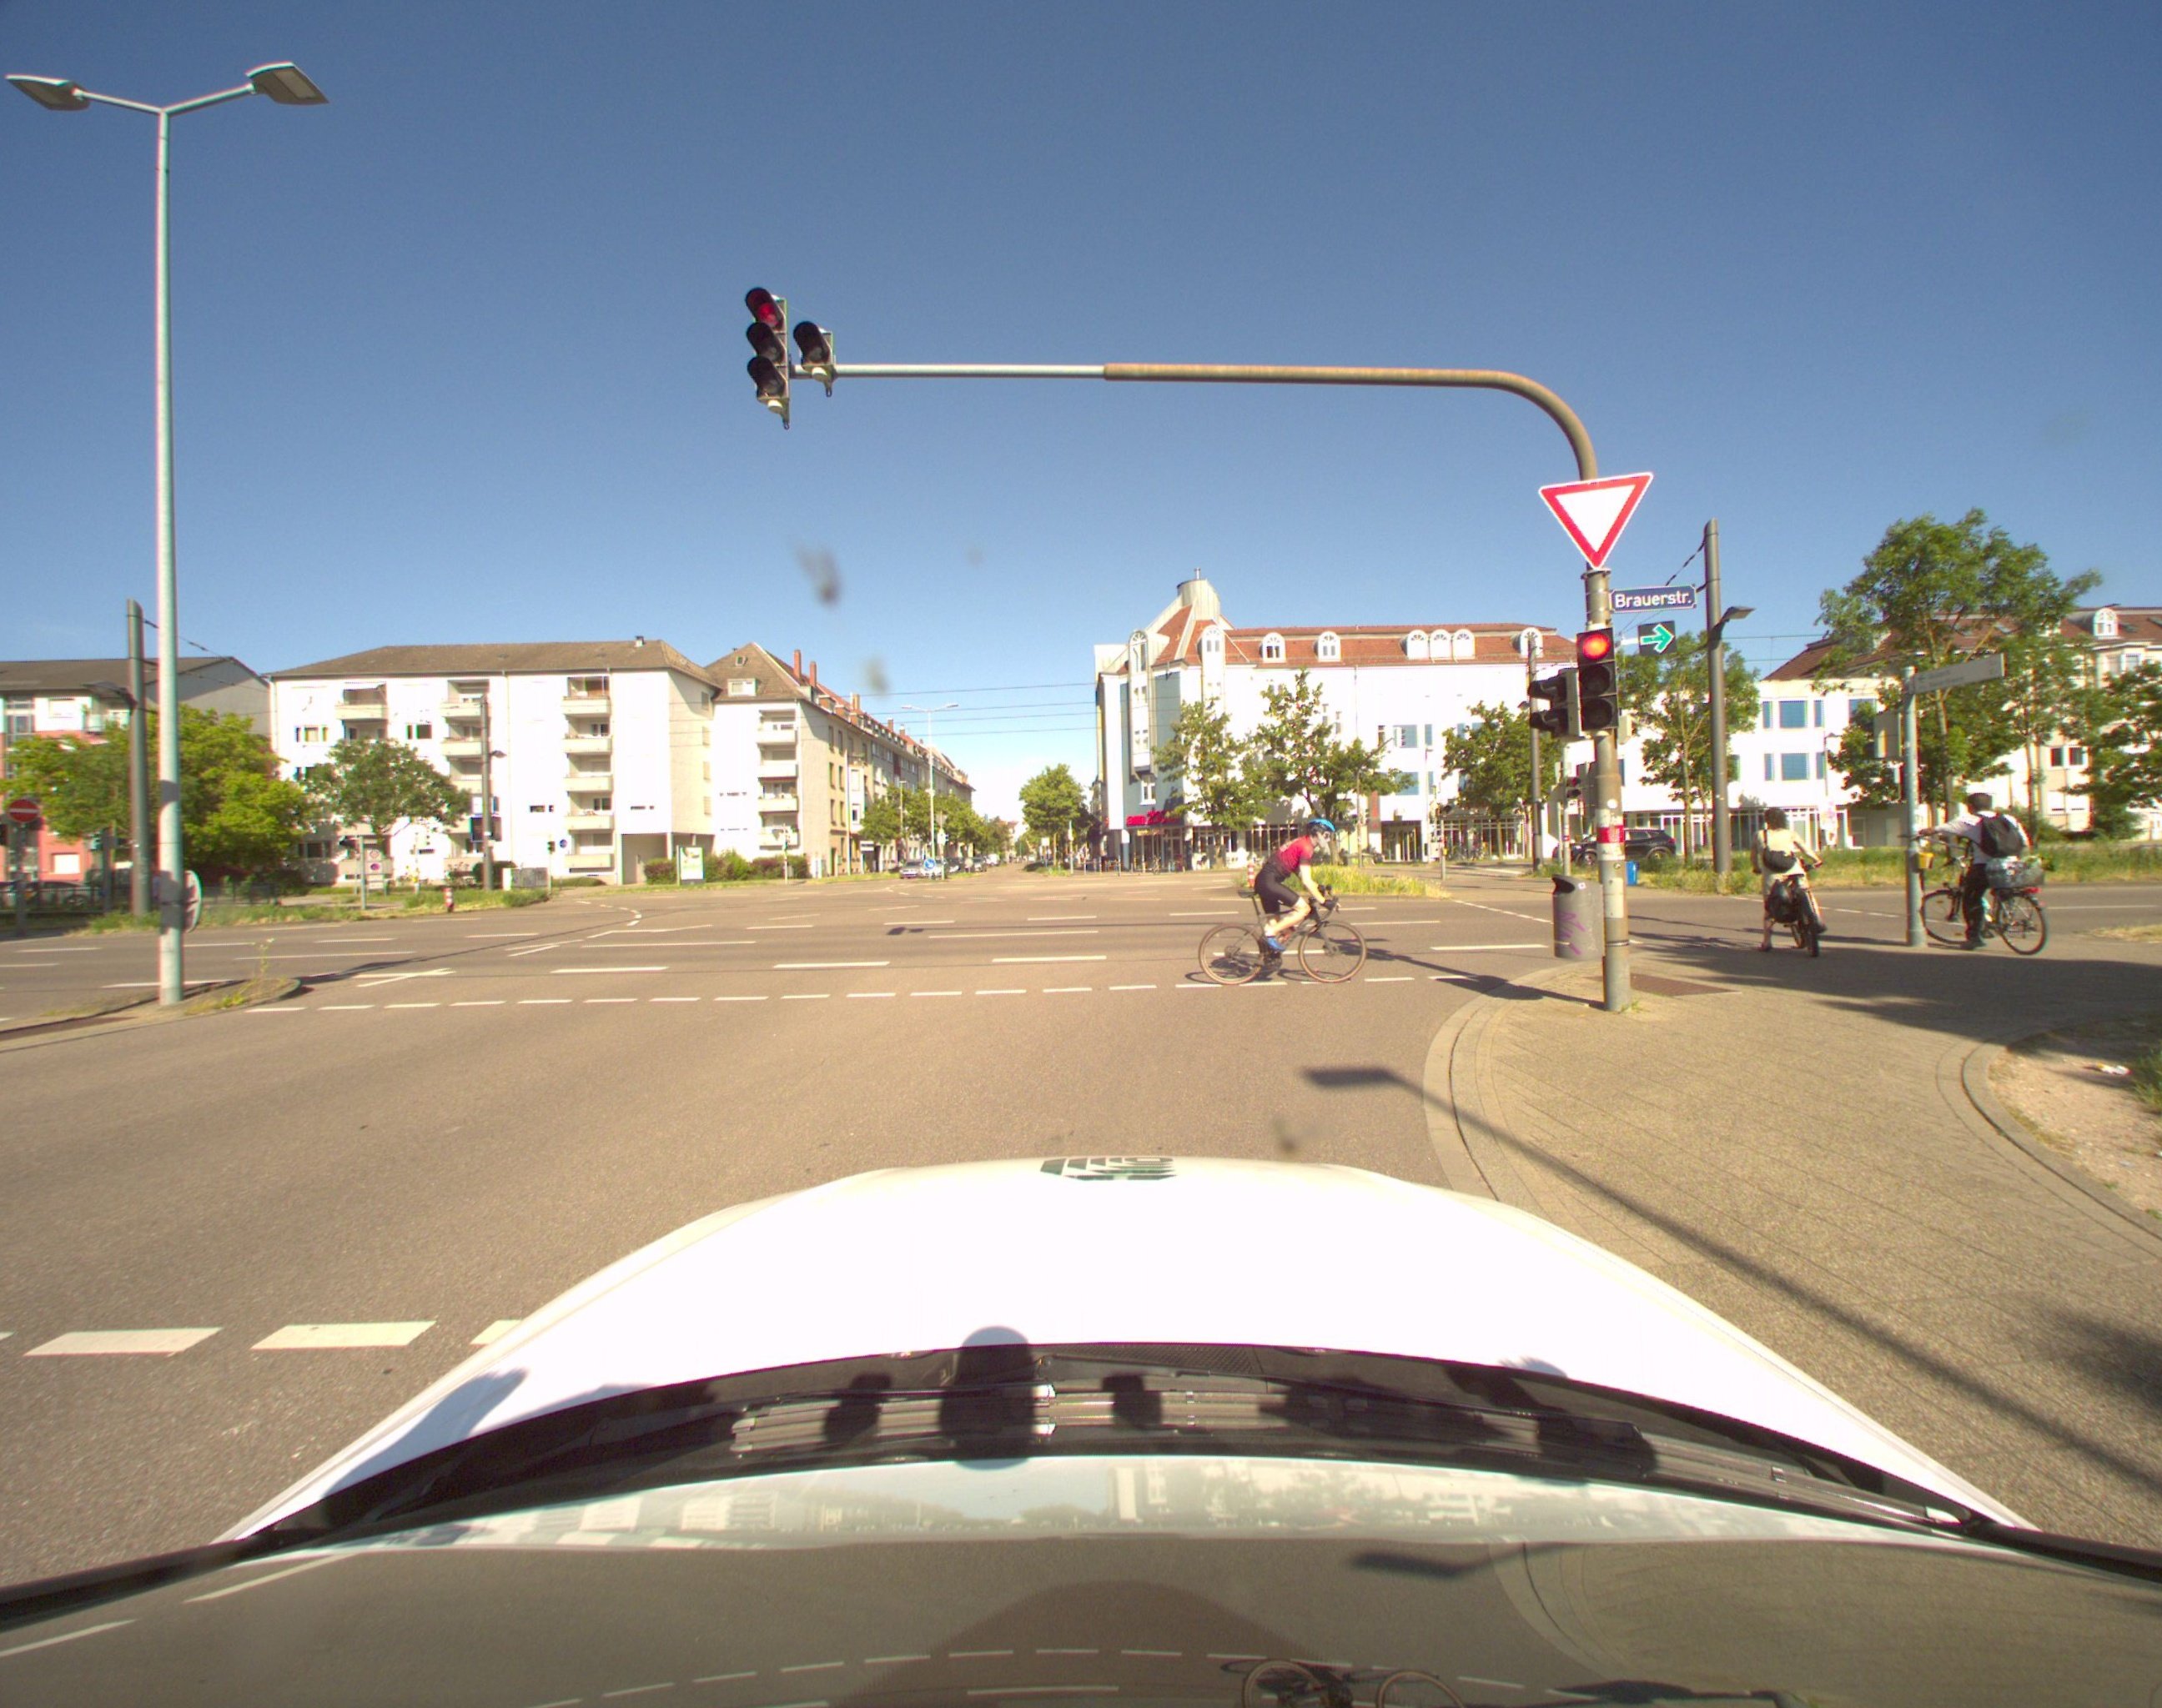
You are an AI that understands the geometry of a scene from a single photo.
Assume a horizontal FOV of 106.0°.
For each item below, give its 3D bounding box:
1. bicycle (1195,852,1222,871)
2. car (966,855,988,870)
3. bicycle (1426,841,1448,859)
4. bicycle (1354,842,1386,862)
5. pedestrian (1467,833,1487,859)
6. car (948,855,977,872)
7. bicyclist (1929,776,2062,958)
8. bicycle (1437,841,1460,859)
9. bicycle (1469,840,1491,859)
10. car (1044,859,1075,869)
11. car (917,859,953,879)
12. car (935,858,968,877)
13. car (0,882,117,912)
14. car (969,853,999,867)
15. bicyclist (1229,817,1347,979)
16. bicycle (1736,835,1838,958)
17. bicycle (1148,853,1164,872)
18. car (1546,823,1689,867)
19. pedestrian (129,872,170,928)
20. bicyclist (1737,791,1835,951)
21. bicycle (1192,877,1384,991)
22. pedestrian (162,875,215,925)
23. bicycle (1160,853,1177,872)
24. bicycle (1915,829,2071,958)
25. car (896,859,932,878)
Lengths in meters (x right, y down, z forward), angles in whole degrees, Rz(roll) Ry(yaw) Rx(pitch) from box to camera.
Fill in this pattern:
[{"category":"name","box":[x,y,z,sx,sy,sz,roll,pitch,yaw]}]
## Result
[{"category":"bicycle","box":[7.537,0.441,48.093,1.502,1.027,0.474,-2,0,10]},{"category":"car","box":[-10.448,0.882,82.048,1.682,1.432,4.400,1,0,1]},{"category":"bicycle","box":[23.408,-0.255,53.570,0.559,1.182,1.869,-2,0,-1]},{"category":"bicycle","box":[18.601,-0.112,52.362,1.860,1.182,0.561,-2,0,-5]},{"category":"pedestrian","box":[26.636,-0.523,54.787,0.987,1.723,0.654,-2,0,-2]},{"category":"car","box":[-10.574,0.854,72.938,1.681,1.432,4.402,1,0,2]},{"category":"bicyclist","box":[10.471,0.139,9.371,0.782,1.959,1.017,-3,0,38]},{"category":"bicycle","box":[24.307,-0.251,53.886,0.559,1.182,1.869,-2,0,-1]},{"category":"bicycle","box":[26.173,-0.282,53.484,0.558,1.182,1.870,-2,0,2]},{"category":"car","box":[-2.630,1.239,99.089,3.562,1.223,1.727,-1,-1,-6]},{"category":"car","box":[-10.776,1.101,60.351,1.681,1.432,4.402,1,0,2]},{"category":"car","box":[-10.578,1.082,66.804,1.680,1.432,4.404,1,0,4]},{"category":"car","box":[-54.715,2.246,43.298,1.672,1.432,4.427,0,-1,38]},{"category":"car","box":[-15.426,0.946,129.821,4.495,2.014,1.998,-1,-1,-3]},{"category":"bicyclist","box":[2.137,0.437,8.498,0.998,1.586,0.673,-2,0,-1]},{"category":"bicycle","box":[8.628,0.463,10.032,0.782,1.348,2.092,-2,0,38]},{"category":"bicycle","box":[4.193,0.498,45.809,0.471,1.027,1.510,-2,0,-11]},{"category":"car","box":[21.919,-0.353,33.452,4.474,1.609,2.005,-2,0,9]},{"category":"pedestrian","box":[-29.987,1.471,26.235,1.139,1.726,0.818,-2,0,41]},{"category":"bicyclist","box":[8.581,0.193,9.967,0.782,1.824,1.143,-3,0,38]},{"category":"bicycle","box":[2.124,0.811,8.494,1.801,1.055,0.673,-2,0,-2]},{"category":"pedestrian","box":[-28.814,1.463,26.298,0.723,1.533,0.857,-2,0,-5]},{"category":"bicycle","box":[4.965,0.464,46.335,0.472,1.027,1.510,-2,0,-12]},{"category":"bicycle","box":[10.686,0.395,9.639,0.782,1.348,2.277,-2,0,38]},{"category":"car","box":[-12.966,1.077,63.573,1.681,1.432,4.402,1,0,2]}]
